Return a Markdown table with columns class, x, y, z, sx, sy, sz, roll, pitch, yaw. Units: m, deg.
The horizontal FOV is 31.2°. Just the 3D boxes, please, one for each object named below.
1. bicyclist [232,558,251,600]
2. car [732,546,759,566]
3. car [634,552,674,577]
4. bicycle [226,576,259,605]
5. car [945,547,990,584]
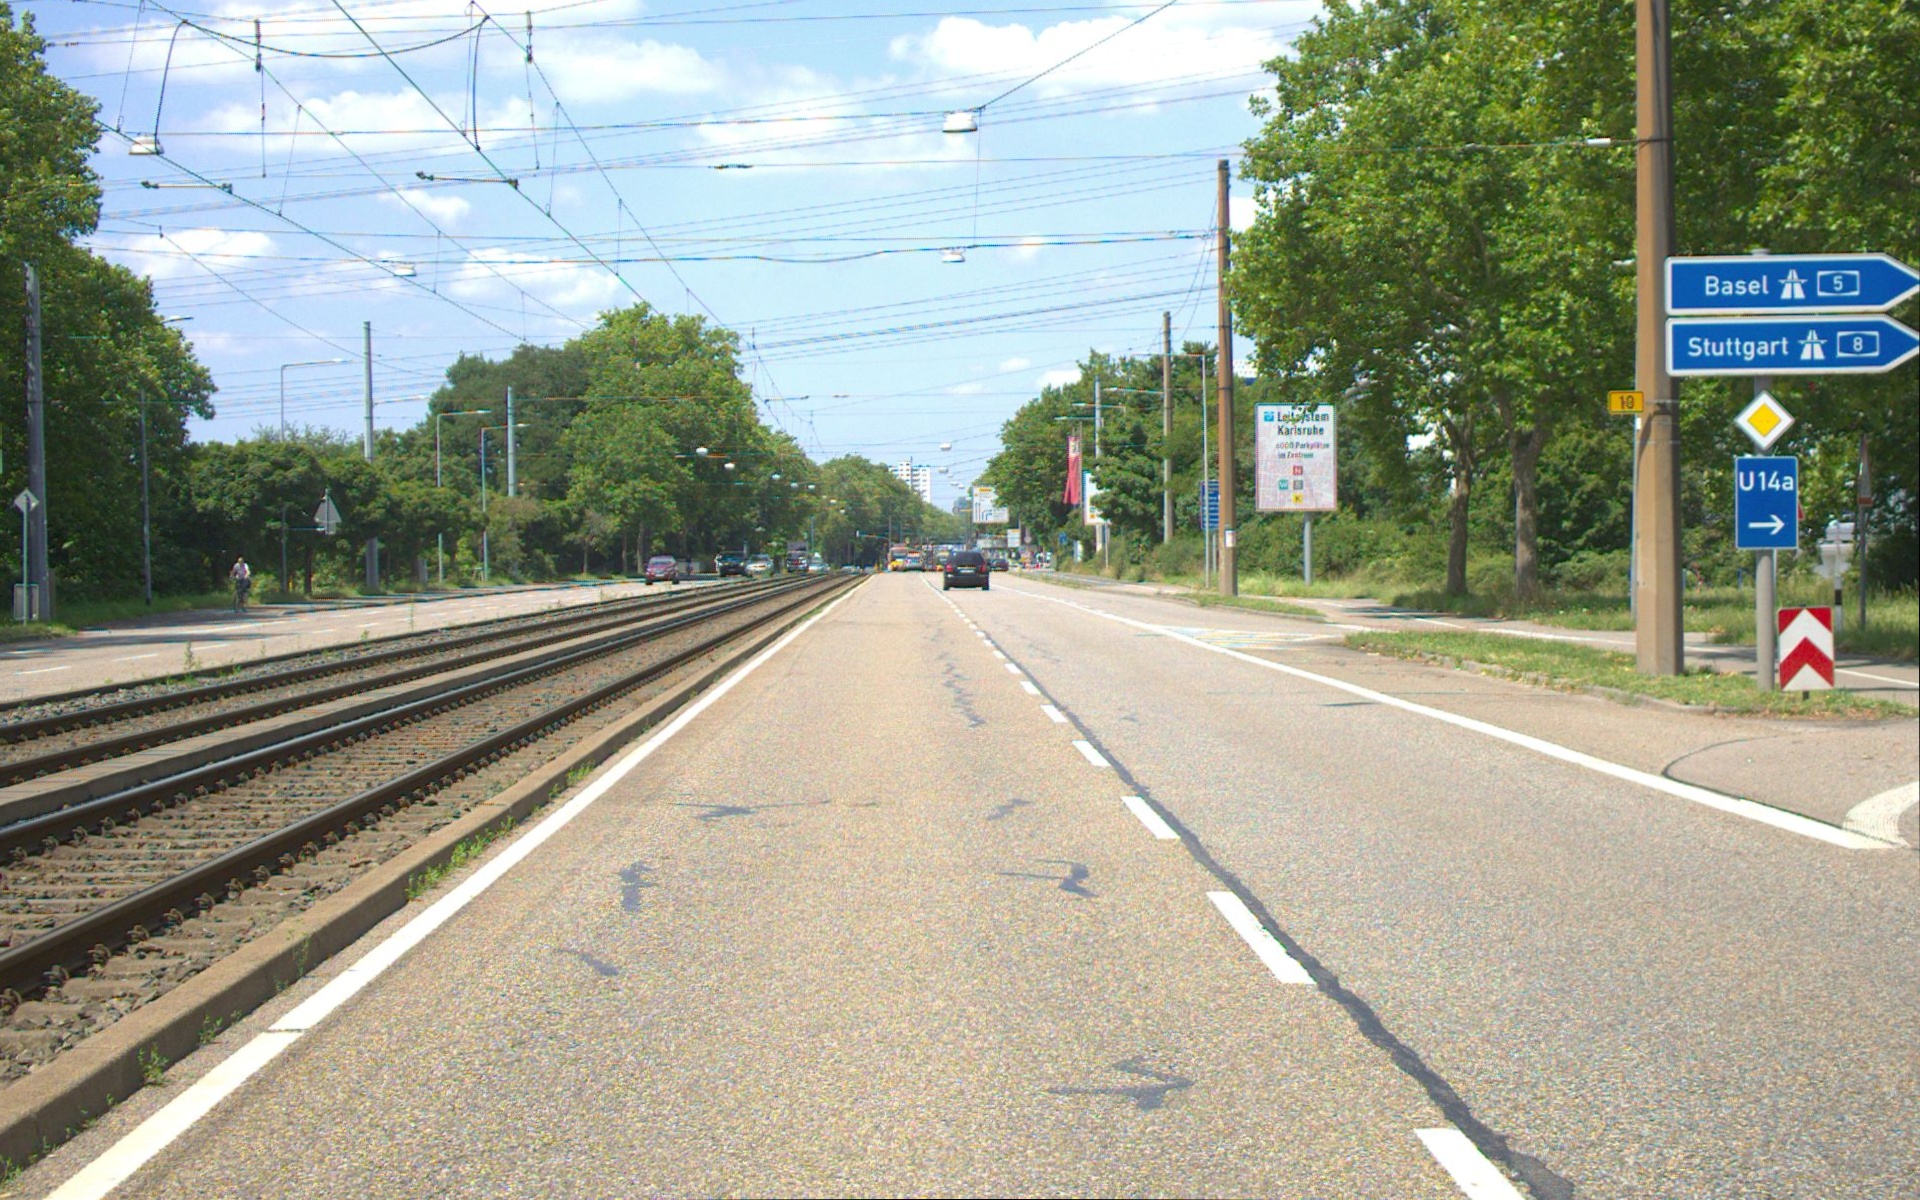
| class | x | y | z | sx | sy | sz | roll | pitch | yaw |
| --- | --- | --- | --- | --- | --- | --- | --- | --- | --- |
| bicyclist | -21.944 | -0.651 | 105.017 | 0.454 | 1.268 | 0.398 | -1 | 1 | 2 |
| car | -15.379 | -3.186 | 247.101 | 1.716 | 1.423 | 3.901 | -1 | 1 | -1 |
| car | -17.422 | -2.029 | 195.764 | 1.875 | 1.327 | 3.918 | -2 | 1 | 0 |
| bicycle | -21.934 | -0.284 | 105.087 | 0.515 | 0.854 | 1.931 | -1 | 1 | 2 |
| car | 0.280 | -1.356 | 134.684 | 1.586 | 1.338 | 3.273 | -1 | 2 | -2 |
